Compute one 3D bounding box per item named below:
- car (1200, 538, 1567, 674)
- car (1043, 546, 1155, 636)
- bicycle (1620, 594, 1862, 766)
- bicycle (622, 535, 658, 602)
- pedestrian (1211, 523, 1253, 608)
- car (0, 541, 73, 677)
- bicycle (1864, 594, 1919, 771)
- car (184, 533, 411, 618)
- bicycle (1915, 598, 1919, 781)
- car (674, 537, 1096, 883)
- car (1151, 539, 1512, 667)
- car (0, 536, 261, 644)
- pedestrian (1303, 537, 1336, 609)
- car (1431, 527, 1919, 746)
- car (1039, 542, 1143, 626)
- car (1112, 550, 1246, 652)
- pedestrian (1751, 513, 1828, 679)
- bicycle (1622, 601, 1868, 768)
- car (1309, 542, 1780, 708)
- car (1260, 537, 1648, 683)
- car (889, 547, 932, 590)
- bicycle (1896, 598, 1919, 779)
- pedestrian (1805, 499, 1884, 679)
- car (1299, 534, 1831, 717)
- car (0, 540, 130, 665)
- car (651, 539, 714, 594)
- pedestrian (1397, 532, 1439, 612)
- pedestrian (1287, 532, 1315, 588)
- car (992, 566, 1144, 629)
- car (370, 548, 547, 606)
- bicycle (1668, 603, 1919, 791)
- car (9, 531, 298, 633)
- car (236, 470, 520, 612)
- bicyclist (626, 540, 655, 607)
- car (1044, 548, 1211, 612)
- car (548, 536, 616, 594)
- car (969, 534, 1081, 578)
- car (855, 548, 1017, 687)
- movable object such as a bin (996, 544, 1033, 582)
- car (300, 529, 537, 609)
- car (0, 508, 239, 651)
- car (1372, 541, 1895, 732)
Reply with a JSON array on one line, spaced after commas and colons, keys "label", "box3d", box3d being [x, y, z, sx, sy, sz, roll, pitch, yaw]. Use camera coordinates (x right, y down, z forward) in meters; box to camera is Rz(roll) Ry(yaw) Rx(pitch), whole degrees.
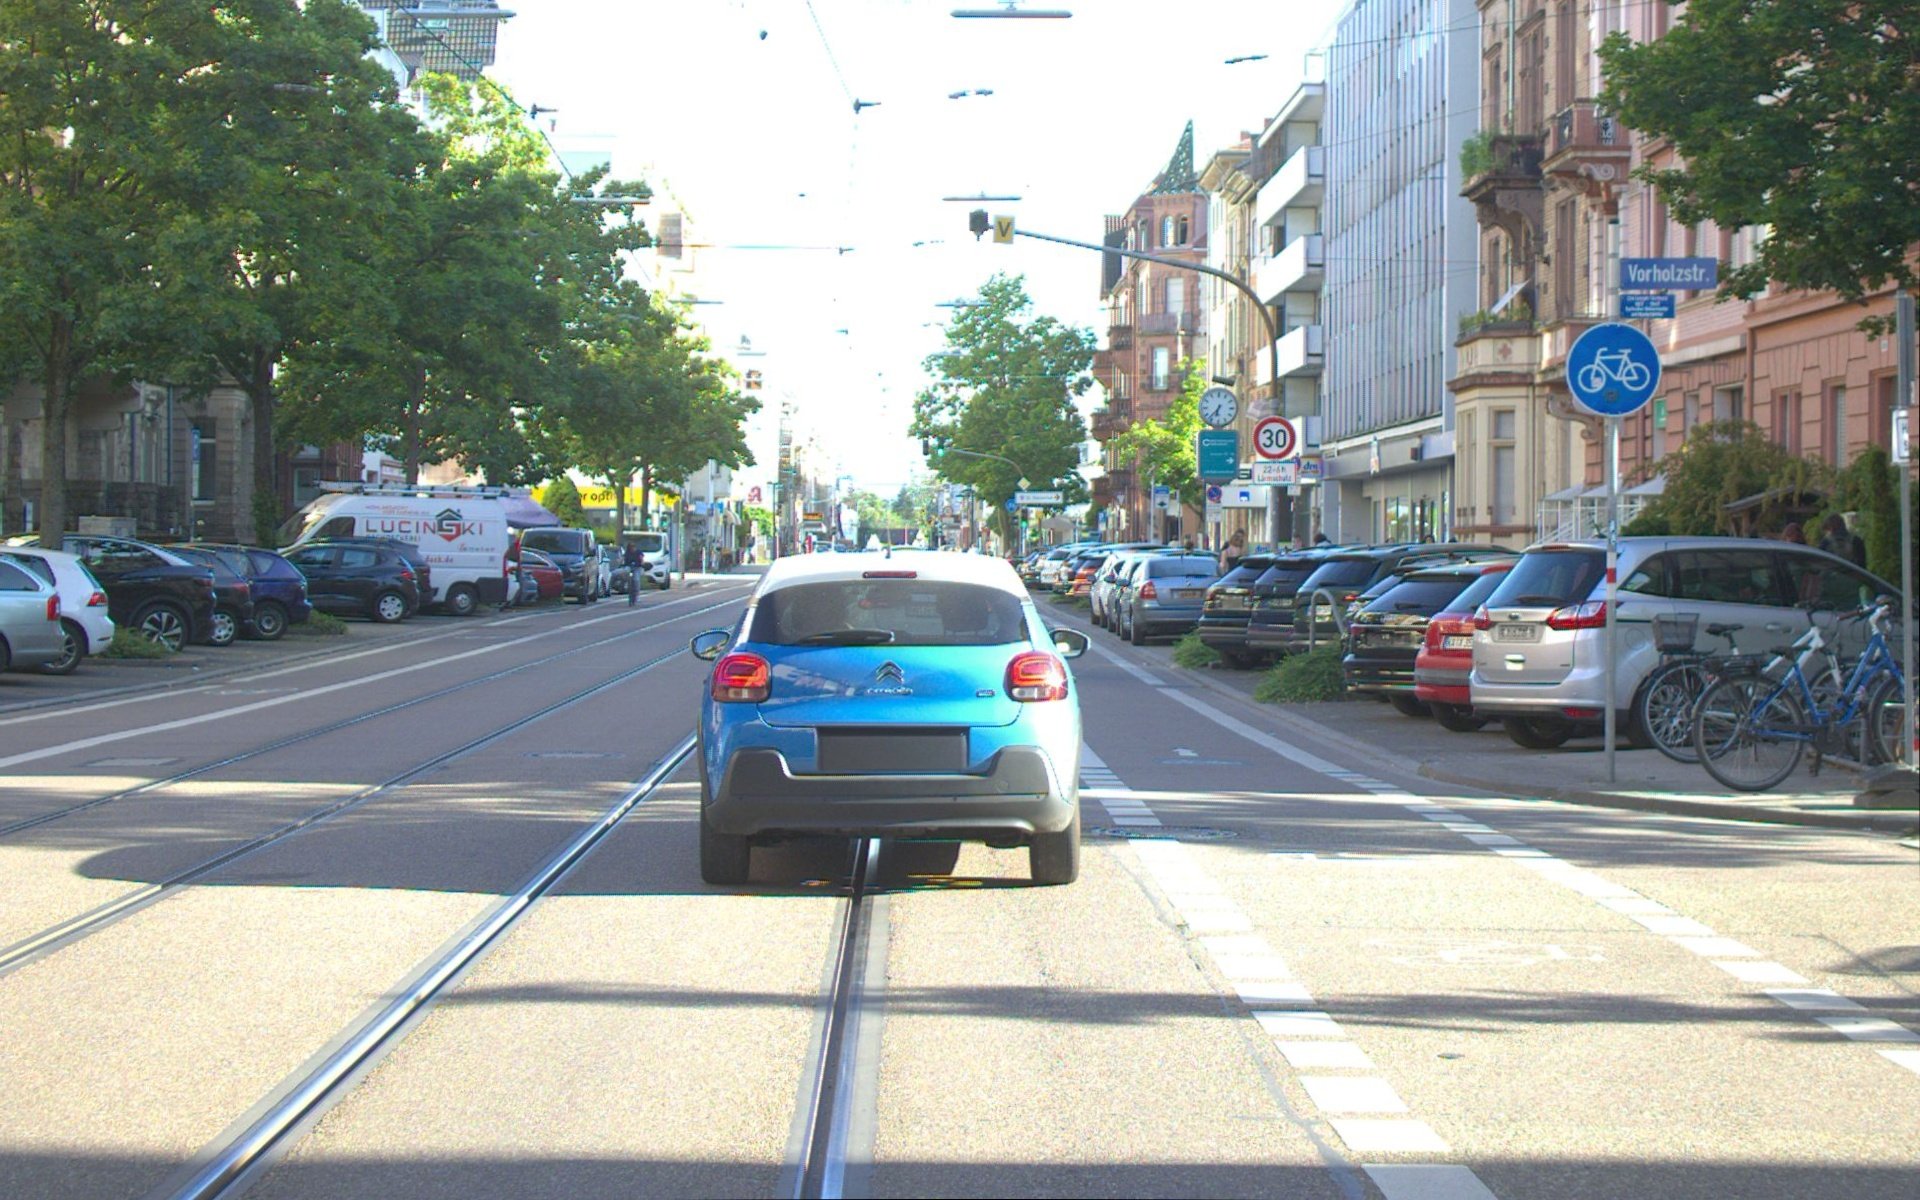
[{"label": "car", "box3d": [5.249, 0.074, 42.634, 3.986, 1.590, 2.088, 1, 1, -25]}, {"label": "car", "box3d": [2.569, -0.186, 64.260, 1.873, 1.590, 4.000, 1, 1, 0]}, {"label": "bicycle", "box3d": [5.319, 0.538, 23.454, 1.560, 1.123, 0.294, 1, 0, 6]}, {"label": "bicycle", "box3d": [-8.076, -0.799, 86.781, 0.680, 1.673, 2.097, 1, 1, 0]}, {"label": "pedestrian", "box3d": [5.183, -0.655, 65.529, 0.712, 1.601, 0.654, 1, 0, -1]}, {"label": "car", "box3d": [-11.690, 0.061, 36.569, 4.006, 1.444, 1.699, 1, 1, -33]}, {"label": "bicycle", "box3d": [6.755, 0.545, 22.203, 1.675, 1.123, 0.551, 1, 0, 6]}, {"label": "car", "box3d": [-12.436, -0.458, 64.490, 3.985, 1.484, 1.807, 1, 1, -17]}, {"label": "bicycle", "box3d": [6.689, 0.572, 20.988, 1.556, 1.123, 0.551, 1, 0, 6]}, {"label": "car", "box3d": [-0.348, 0.449, 16.396, 1.762, 1.436, 3.557, 1, 1, -1]}, {"label": "car", "box3d": [4.916, 0.037, 45.451, 4.302, 1.590, 1.983, 1, 1, -25]}, {"label": "car", "box3d": [-12.417, -0.147, 50.023, 3.987, 1.484, 1.806, 1, 1, -33]}, {"label": "pedestrian", "box3d": [8.832, -0.661, 84.489, 0.692, 1.750, 0.678, 1, 0, 0]}, {"label": "car", "box3d": [6.035, 0.285, 26.743, 4.350, 1.590, 1.854, 1, 1, -25]}, {"label": "car", "box3d": [2.586, -0.337, 68.760, 1.873, 1.590, 4.000, 1, 1, 0]}, {"label": "car", "box3d": [3.608, -0.006, 57.383, 1.873, 1.590, 4.719, 1, 1, 0]}, {"label": "pedestrian", "box3d": [8.354, -0.047, 34.642, 0.518, 1.643, 0.863, 1, 0, 0]}, {"label": "bicycle", "box3d": [5.271, 0.563, 23.122, 1.556, 1.075, 0.307, 1, 0, 6]}, {"label": "car", "box3d": [5.975, 0.256, 35.143, 4.317, 1.590, 2.046, 1, 1, -25]}, {"label": "car", "box3d": [5.712, 0.114, 39.799, 3.986, 1.590, 1.960, 1, 1, -25]}, {"label": "car", "box3d": [-1.684, -1.081, 117.397, 1.423, 1.427, 3.139, 1, 1, 0]}, {"label": "bicycle", "box3d": [6.727, 0.571, 21.580, 1.556, 1.123, 0.528, 1, 0, 6]}, {"label": "pedestrian", "box3d": [8.910, -0.114, 34.646, 0.518, 1.772, 0.863, 1, 0, 0]}, {"label": "car", "box3d": [5.625, 0.241, 31.962, 4.433, 1.590, 2.089, 1, 1, -25]}, {"label": "car", "box3d": [-11.792, -0.004, 39.981, 3.831, 1.425, 1.766, 1, 1, -26]}, {"label": "car", "box3d": [-9.649, -1.166, 119.684, 1.831, 1.841, 4.214, 1, 1, -1]}, {"label": "pedestrian", "box3d": [9.319, -0.566, 69.923, 0.712, 1.601, 0.654, 1, 0, -1]}, {"label": "pedestrian", "box3d": [9.648, -1.134, 97.353, 0.692, 1.582, 0.678, 1, 0, 0]}, {"label": "car", "box3d": [2.778, -0.063, 88.541, 3.441, 1.550, 1.824, 1, 1, -32]}, {"label": "car", "box3d": [-11.707, -0.542, 80.325, 3.796, 1.261, 1.516, 1, 1, -26]}, {"label": "bicycle", "box3d": [5.156, 0.598, 21.269, 1.396, 1.123, 0.551, 1, 0, -15]}, {"label": "car", "box3d": [-12.425, -0.275, 52.983, 3.986, 1.484, 1.806, 1, 1, -28]}, {"label": "car", "box3d": [-11.837, -1.172, 70.065, 5.370, 2.739, 1.806, 1, 1, -30]}, {"label": "bicyclist", "box3d": [-8.069, -0.673, 86.879, 0.634, 1.675, 0.727, 1, 0, 0]}, {"label": "car", "box3d": [4.207, -0.491, 86.187, 3.718, 1.515, 1.968, 1, 1, -33]}, {"label": "car", "box3d": [-10.990, -1.028, 100.238, 1.747, 1.612, 4.411, 1, 1, -4]}, {"label": "car", "box3d": [2.371, -1.602, 125.391, 3.653, 1.529, 1.789, 1, 1, -20]}, {"label": "car", "box3d": [-0.292, 0.184, 42.460, 1.873, 1.590, 4.000, 1, 1, 0]}, {"label": "movable object such as a bin", "box3d": [2.162, -1.472, 135.819, 1.394, 1.478, 1.655, 1, 1, 0]}, {"label": "car", "box3d": [-11.689, -0.670, 74.357, 4.755, 1.612, 1.712, 1, 1, -33]}, {"label": "car", "box3d": [-11.793, -0.271, 44.507, 4.352, 1.777, 1.996, 1, 1, -33]}, {"label": "car", "box3d": [5.746, 0.312, 29.353, 3.986, 1.531, 1.919, 1, 1, -25]}]
